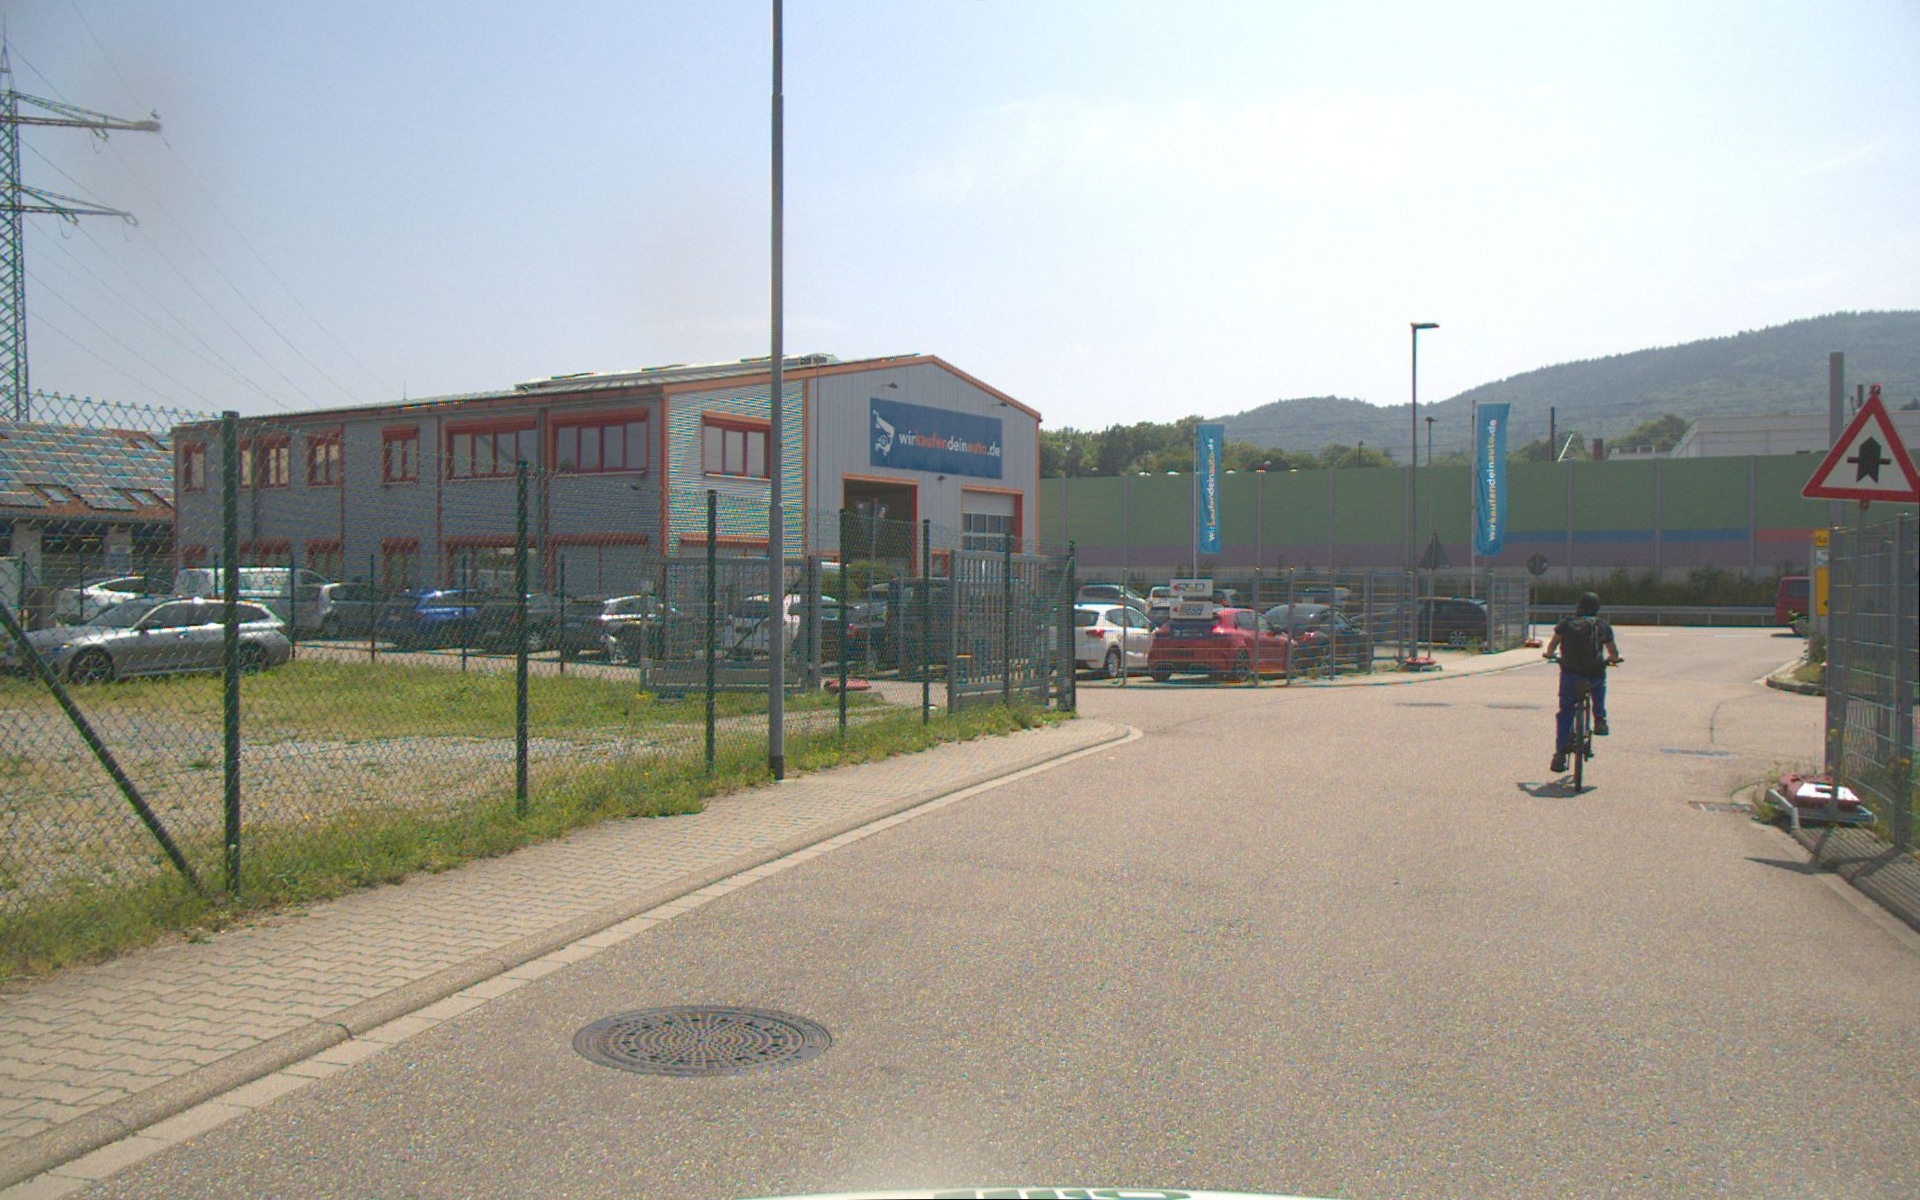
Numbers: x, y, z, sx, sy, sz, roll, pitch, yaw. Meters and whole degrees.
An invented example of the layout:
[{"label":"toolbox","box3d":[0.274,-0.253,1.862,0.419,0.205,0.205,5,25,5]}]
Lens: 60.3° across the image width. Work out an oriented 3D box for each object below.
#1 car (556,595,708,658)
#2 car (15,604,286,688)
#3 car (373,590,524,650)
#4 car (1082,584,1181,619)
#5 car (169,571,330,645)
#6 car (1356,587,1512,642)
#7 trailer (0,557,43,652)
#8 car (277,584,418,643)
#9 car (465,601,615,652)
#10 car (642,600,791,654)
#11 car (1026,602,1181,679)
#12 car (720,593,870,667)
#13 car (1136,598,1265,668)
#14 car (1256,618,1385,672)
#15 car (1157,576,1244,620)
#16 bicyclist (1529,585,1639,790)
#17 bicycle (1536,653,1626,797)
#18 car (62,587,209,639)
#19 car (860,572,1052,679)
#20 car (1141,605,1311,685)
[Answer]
[{"label":"car","box3d":[-7.718,0.596,39.164,1.476,1.405,3.594,0,0,32]},{"label":"car","box3d":[-13.627,0.724,28.066,1.209,1.283,4.131,0,0,32]},{"label":"car","box3d":[-12.959,0.466,42.084,1.476,1.441,3.594,0,0,32]},{"label":"car","box3d":[7.597,0.046,73.177,3.916,1.519,1.994,0,1,33]},{"label":"car","box3d":[-20.111,0.190,46.970,1.785,2.013,3.897,0,0,32]},{"label":"car","box3d":[13.699,0.378,47.870,3.921,1.519,1.992,0,1,37]},{"label":"trailer","box3d":[-21.567,0.101,34.088,4.425,1.979,1.688,0,1,-42]},{"label":"car","box3d":[-17.121,0.344,46.358,1.476,1.571,3.594,0,0,32]},{"label":"car","box3d":[-10.360,0.624,41.017,1.476,1.171,3.594,0,1,32]},{"label":"car","box3d":[-5.627,0.592,38.544,1.476,1.171,3.594,0,1,32]},{"label":"car","box3d":[2.981,0.785,33.731,1.714,1.429,3.594,0,0,32]},{"label":"car","box3d":[-3.671,0.629,37.324,1.476,1.566,3.594,0,0,32]},{"label":"car","box3d":[5.515,0.702,37.583,1.457,1.480,3.884,0,0,32]},{"label":"car","box3d":[7.950,0.955,36.209,1.457,1.024,4.103,0,1,32]},{"label":"car","box3d":[9.306,-0.095,63.830,1.957,1.609,3.992,0,1,31]},{"label":"bicyclist","box3d":[5.307,0.715,14.057,0.825,1.647,1.039,1,-1,22]},{"label":"bicycle","box3d":[5.303,1.019,14.084,0.671,1.070,1.900,0,0,22]},{"label":"car","box3d":[-25.493,0.367,51.242,1.476,1.542,3.897,0,0,32]},{"label":"car","box3d":[-0.005,0.473,34.512,1.915,2.066,4.506,0,0,32]},{"label":"car","box3d":[5.273,0.822,32.403,1.836,1.411,4.103,0,1,32]}]
